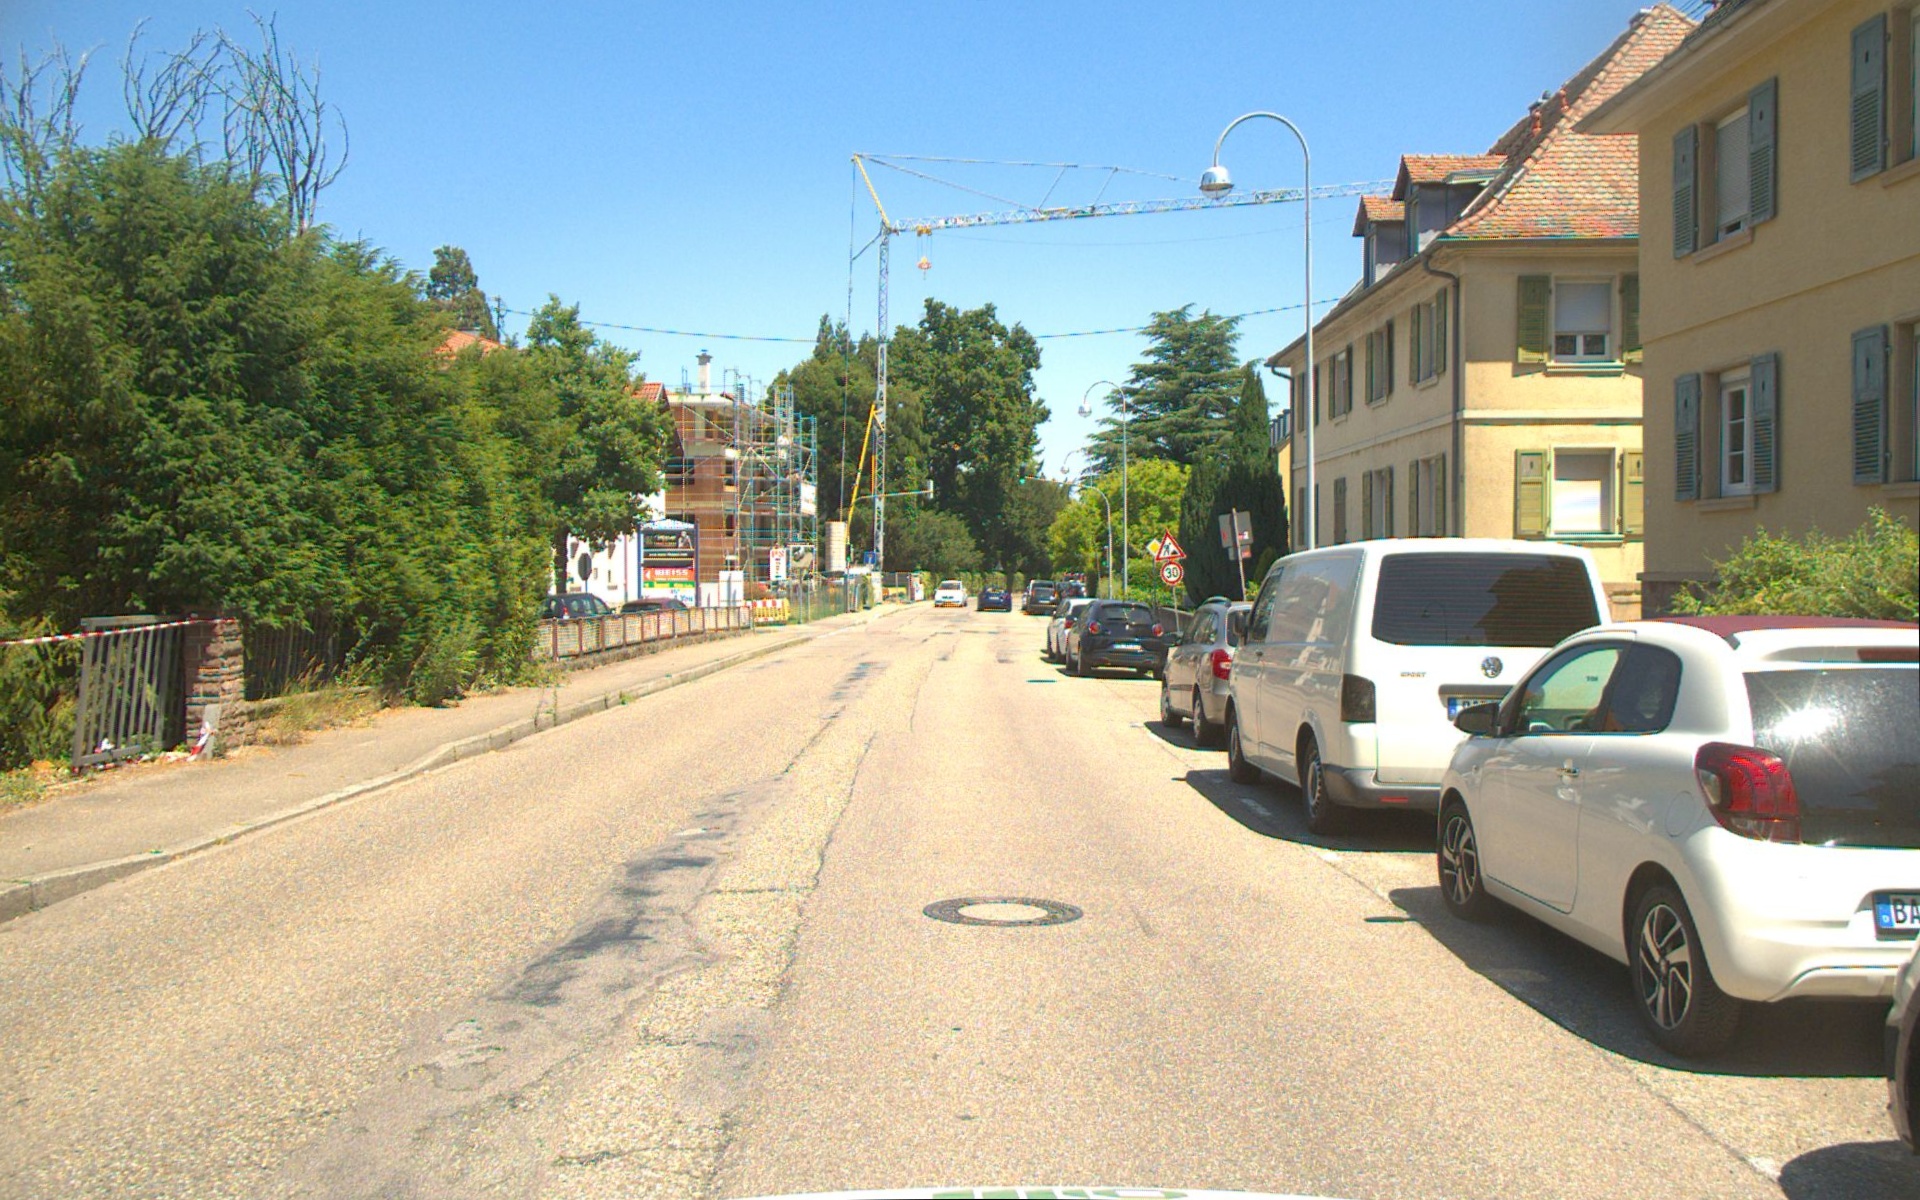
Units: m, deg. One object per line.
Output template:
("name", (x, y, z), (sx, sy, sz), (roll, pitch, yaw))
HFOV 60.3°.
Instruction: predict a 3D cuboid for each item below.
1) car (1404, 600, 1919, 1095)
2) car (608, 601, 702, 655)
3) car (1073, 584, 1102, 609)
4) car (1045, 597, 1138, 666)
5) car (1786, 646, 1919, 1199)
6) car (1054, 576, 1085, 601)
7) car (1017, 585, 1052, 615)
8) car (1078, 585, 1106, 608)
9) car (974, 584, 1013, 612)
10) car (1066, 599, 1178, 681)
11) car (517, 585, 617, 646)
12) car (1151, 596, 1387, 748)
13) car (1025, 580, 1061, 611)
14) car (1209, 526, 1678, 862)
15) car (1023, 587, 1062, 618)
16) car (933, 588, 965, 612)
("car", (3.238, 0.754, 6.854), (1.725, 1.477, 3.647), (0, 0, -2))
("car", (-8.356, 0.748, 45.610), (1.625, 1.413, 3.537), (-1, 0, 5))
("car", (9.191, -0.252, 119.130), (1.951, 1.691, 4.003), (-1, 0, 6))
("car", (2.960, 0.688, 37.947), (1.725, 1.477, 3.888), (0, 0, -2))
("car", (3.160, 0.841, 2.201), (1.725, 1.395, 4.606), (0, 0, -2))
("car", (7.561, -0.777, 114.350), (1.951, 1.691, 4.003), (-1, 0, 6))
("car", (4.374, -0.005, 97.016), (1.952, 1.691, 4.002), (-1, 0, 4))
("car", (9.926, -0.253, 124.274), (1.951, 1.691, 4.003), (-1, 0, 6))
("car", (1.871, -0.137, 92.045), (1.917, 1.494, 4.003), (-1, 1, 5))
("car", (3.102, 0.740, 32.347), (1.725, 1.477, 3.838), (0, 0, -2))
("car", (-10.824, 0.408, 45.763), (1.625, 1.603, 3.537), (-1, 0, 5))
("car", (3.292, 0.709, 18.416), (1.725, 1.477, 4.222), (0, 0, -2))
("car", (4.628, -0.242, 91.766), (1.952, 1.691, 4.002), (-1, 0, 4))
("car", (3.251, 0.559, 12.279), (1.953, 1.934, 4.822), (2, 0, -1))
("car", (4.359, 0.125, 86.793), (1.952, 1.601, 4.002), (-1, 0, 4))
("car", (-0.687, -0.008, 102.923), (1.724, 1.477, 3.841), (0, 0, 3))
